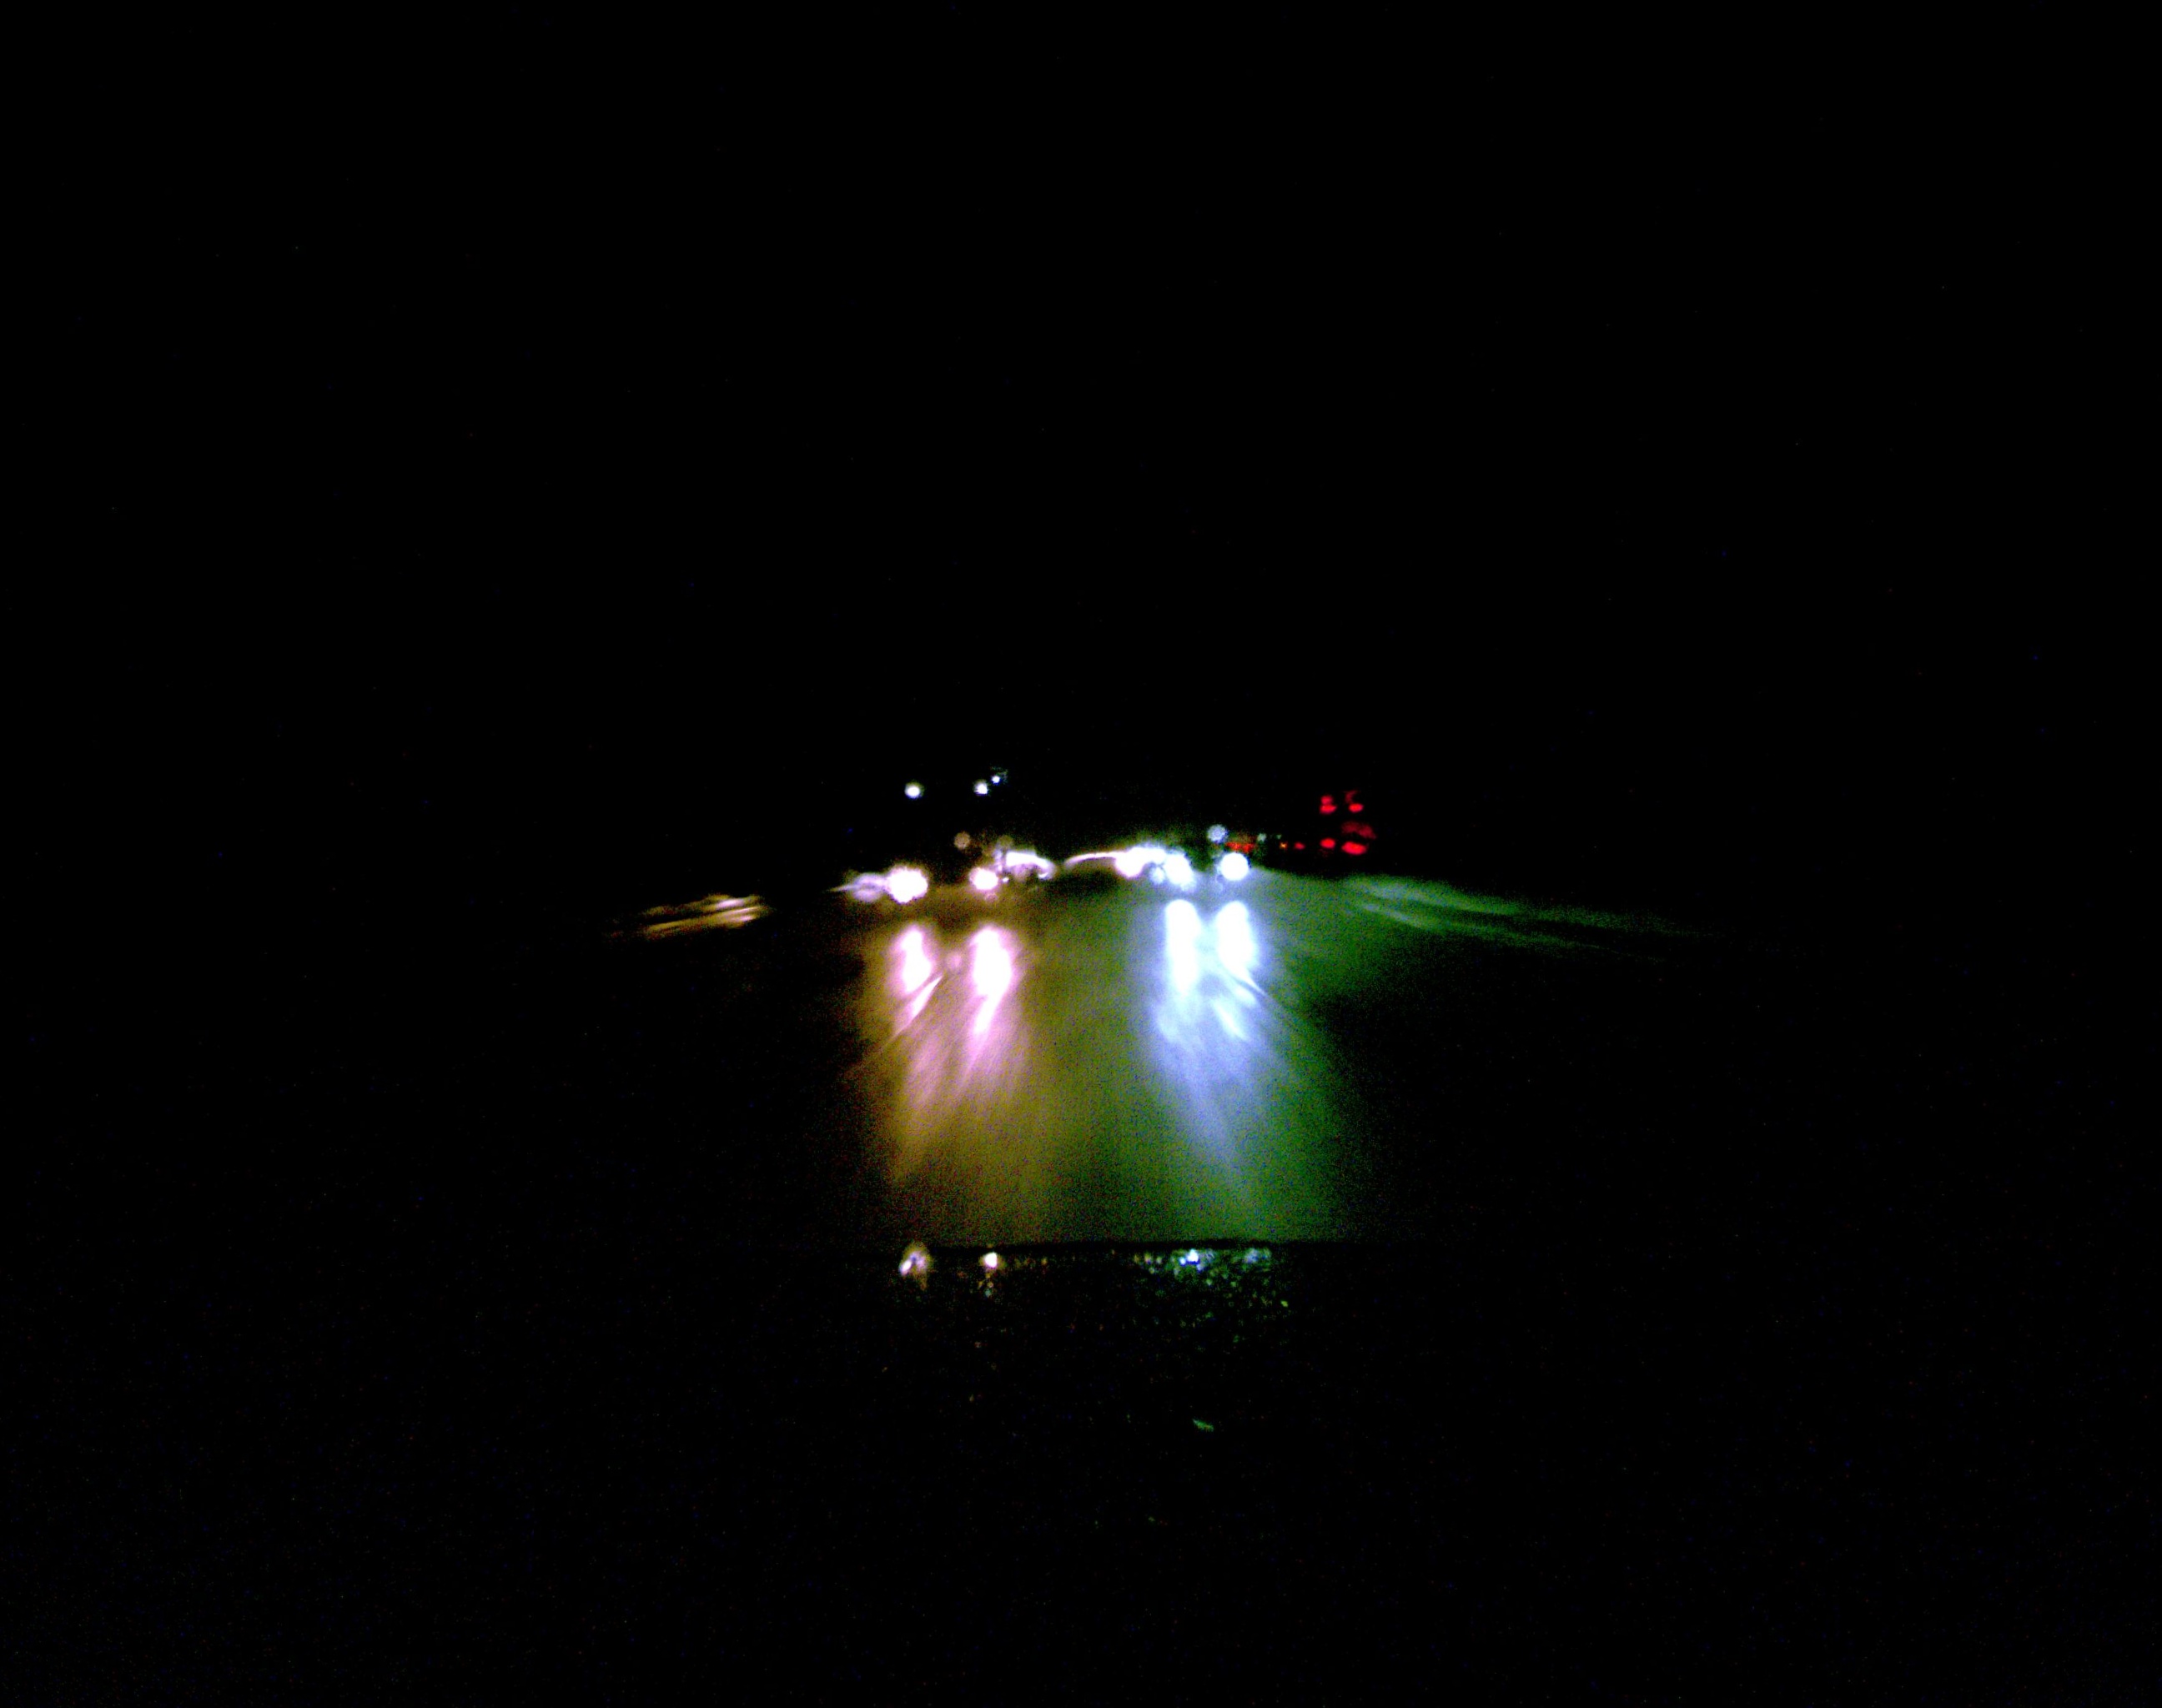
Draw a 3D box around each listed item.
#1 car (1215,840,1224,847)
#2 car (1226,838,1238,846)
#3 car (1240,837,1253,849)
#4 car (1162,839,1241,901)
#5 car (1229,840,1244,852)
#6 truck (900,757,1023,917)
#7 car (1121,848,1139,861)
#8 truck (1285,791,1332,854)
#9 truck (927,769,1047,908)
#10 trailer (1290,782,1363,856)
[{"bbox_3d":[33.374,-2.413,182.589,1.880,1.618,4.002,-2,0,8],"label":"car"},{"bbox_3d":[33.105,-2.637,166.580,1.998,1.749,4.001,-2,0,4],"label":"car"},{"bbox_3d":[36.704,-2.486,168.591,2.178,2.427,4.938,-2,1,6],"label":"car"},{"bbox_3d":[4.090,0.462,26.637,2.141,1.873,5.556,-2,1,4],"label":"car"},{"bbox_3d":[23.474,-1.235,114.658,1.784,1.638,3.865,-2,0,4],"label":"car"},{"bbox_3d":[-3.457,-0.484,23.542,2.503,4.223,5.982,-2,1,2],"label":"truck"},{"bbox_3d":[6.333,0.038,97.519,1.998,1.553,4.647,-2,1,6],"label":"car"},{"bbox_3d":[22.347,-3.000,74.941,2.910,5.861,6.880,-2,1,5],"label":"truck"},{"bbox_3d":[-3.237,-0.556,30.478,2.503,4.223,13.642,-2,1,2],"label":"truck"},{"bbox_3d":[21.752,-2.901,68.397,2.915,5.860,14.175,-2,1,5],"label":"trailer"}]
